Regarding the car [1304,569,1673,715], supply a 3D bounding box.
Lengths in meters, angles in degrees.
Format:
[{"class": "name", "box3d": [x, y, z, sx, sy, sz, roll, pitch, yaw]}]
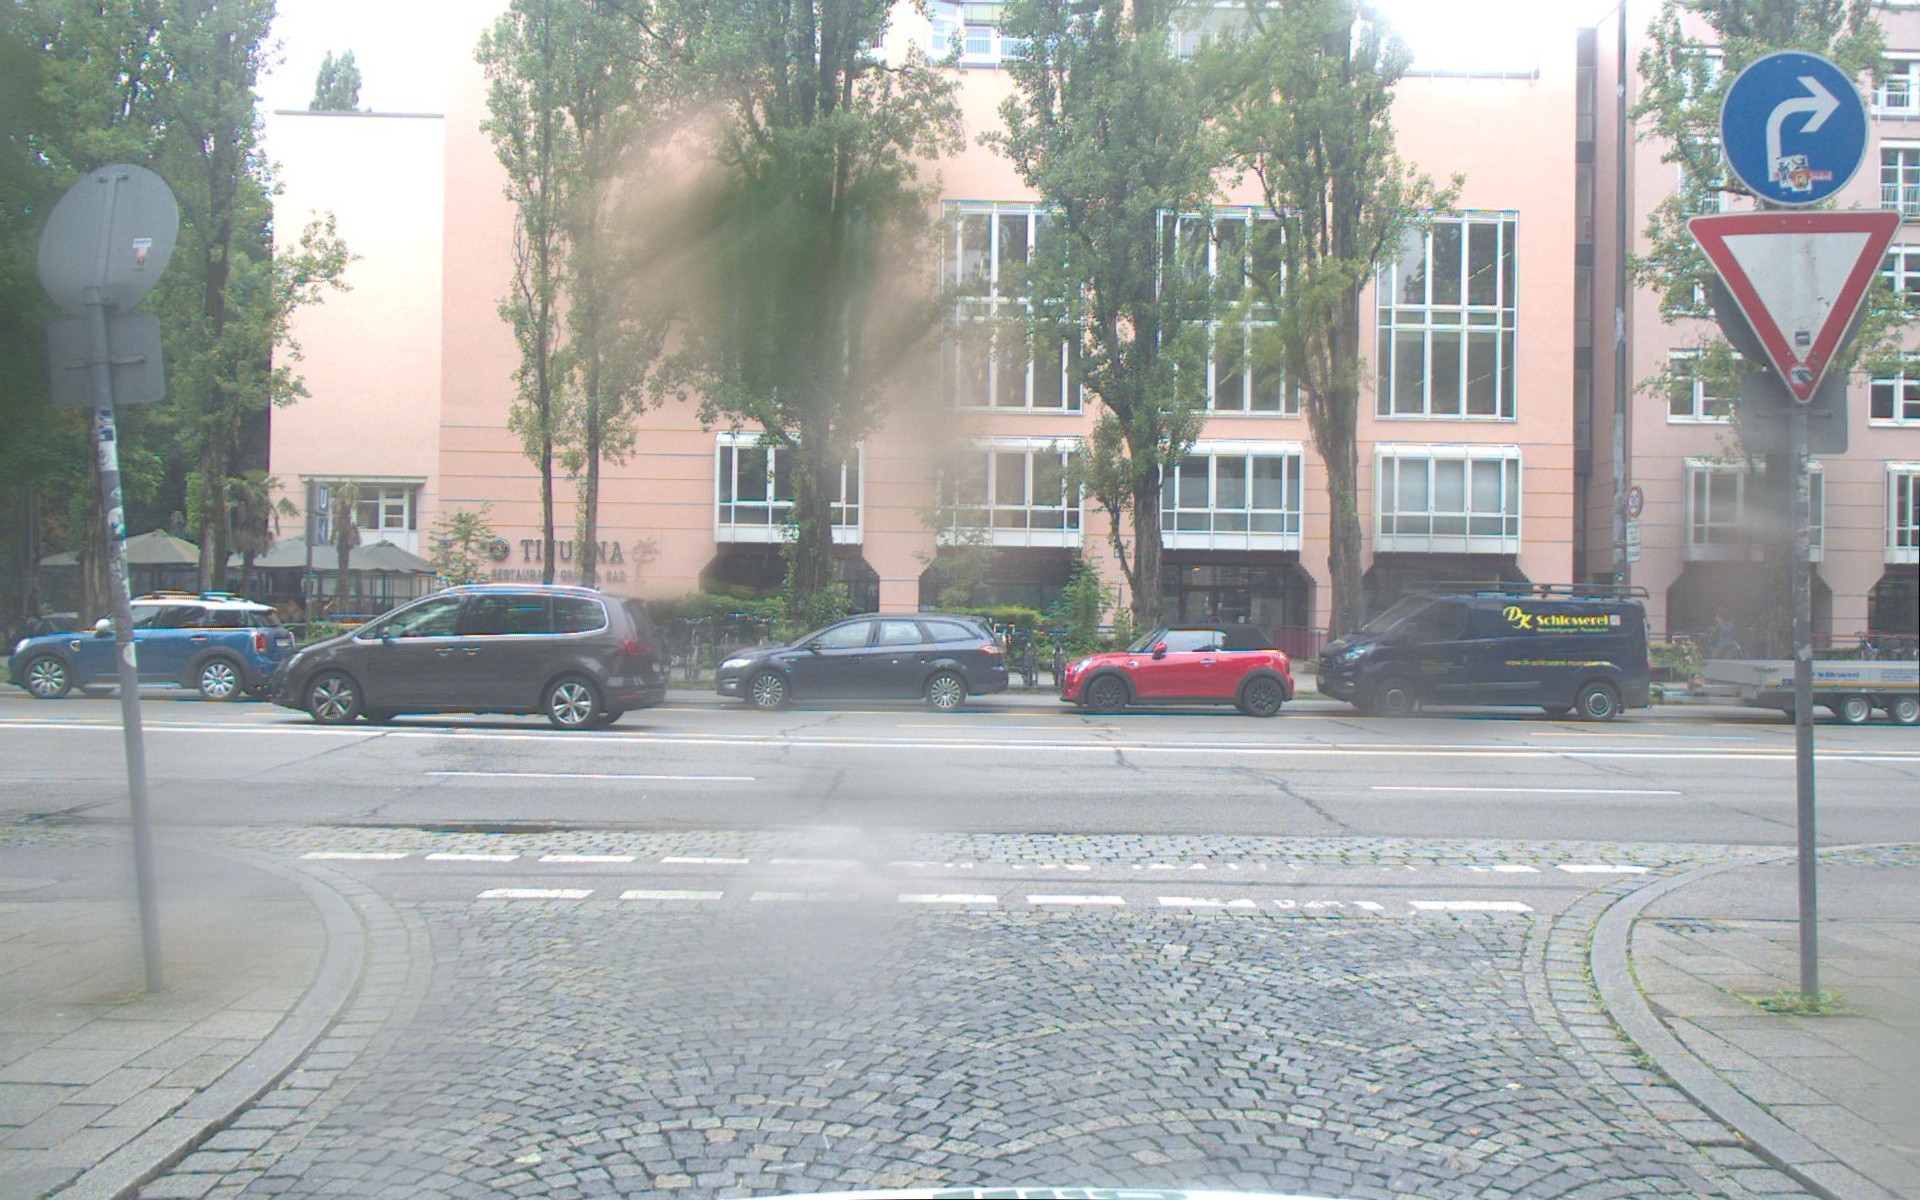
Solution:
[{"class": "car", "box3d": [8.500, 0.660, 26.928, 5.367, 2.235, 2.023, 1, 0, -1]}]

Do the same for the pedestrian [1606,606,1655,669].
[{"class": "pedestrian", "box3d": [15.034, 0.834, 37.083, 0.699, 1.393, 0.724, 1, 0, -30]}]

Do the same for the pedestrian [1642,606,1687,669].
[{"class": "pedestrian", "box3d": [15.843, 0.841, 37.204, 0.714, 1.393, 0.709, 1, 0, 0]}]

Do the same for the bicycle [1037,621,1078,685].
[{"class": "bicycle", "box3d": [1.819, 0.974, 31.092, 0.660, 1.144, 1.742, 0, 0, 0]}]

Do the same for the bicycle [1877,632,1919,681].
[{"class": "bicycle", "box3d": [23.305, 1.376, 40.459, 0.660, 1.144, 1.989, 0, 0, 0]}]

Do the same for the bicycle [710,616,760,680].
[{"class": "bicycle", "box3d": [-4.215, 0.885, 31.058, 0.660, 1.144, 1.989, 0, 0, 0]}]

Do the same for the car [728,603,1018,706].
[{"class": "car", "box3d": [-1.363, 0.854, 26.774, 4.514, 1.555, 1.793, 1, 0, -1]}]

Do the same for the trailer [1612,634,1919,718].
[{"class": "trailer", "box3d": [14.094, 1.219, 27.104, 5.895, 1.220, 2.404, 1, 0, 0]}]

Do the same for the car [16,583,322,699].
[{"class": "car", "box3d": [-12.590, 0.657, 26.508, 3.983, 1.762, 1.792, 1, -2, -2]}]

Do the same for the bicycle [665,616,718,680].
[{"class": "bicycle", "box3d": [-5.030, 0.879, 31.074, 0.660, 1.144, 1.989, 0, 0, 0]}]

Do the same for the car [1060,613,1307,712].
[{"class": "car", "box3d": [3.533, 0.983, 26.648, 3.780, 1.474, 1.678, 1, 0, 2]}]

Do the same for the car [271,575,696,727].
[{"class": "car", "box3d": [-5.830, 0.626, 20.703, 4.701, 1.752, 2.000, 1, -1, 0]}]

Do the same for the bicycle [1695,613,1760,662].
[{"class": "bicycle", "box3d": [18.842, 0.911, 40.643, 0.660, 1.144, 1.989, 0, 0, 0]}]

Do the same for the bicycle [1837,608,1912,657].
[{"class": "bicycle", "box3d": [22.254, 0.776, 40.270, 0.660, 1.144, 2.107, 0, 0, 0]}]

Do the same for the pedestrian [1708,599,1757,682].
[{"class": "pedestrian", "box3d": [16.569, 0.863, 35.484, 0.714, 1.743, 0.709, 1, 0, 0]}]

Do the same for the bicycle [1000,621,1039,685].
[{"class": "bicycle", "box3d": [1.111, 0.973, 31.061, 0.660, 1.144, 1.742, 0, 0, 0]}]
